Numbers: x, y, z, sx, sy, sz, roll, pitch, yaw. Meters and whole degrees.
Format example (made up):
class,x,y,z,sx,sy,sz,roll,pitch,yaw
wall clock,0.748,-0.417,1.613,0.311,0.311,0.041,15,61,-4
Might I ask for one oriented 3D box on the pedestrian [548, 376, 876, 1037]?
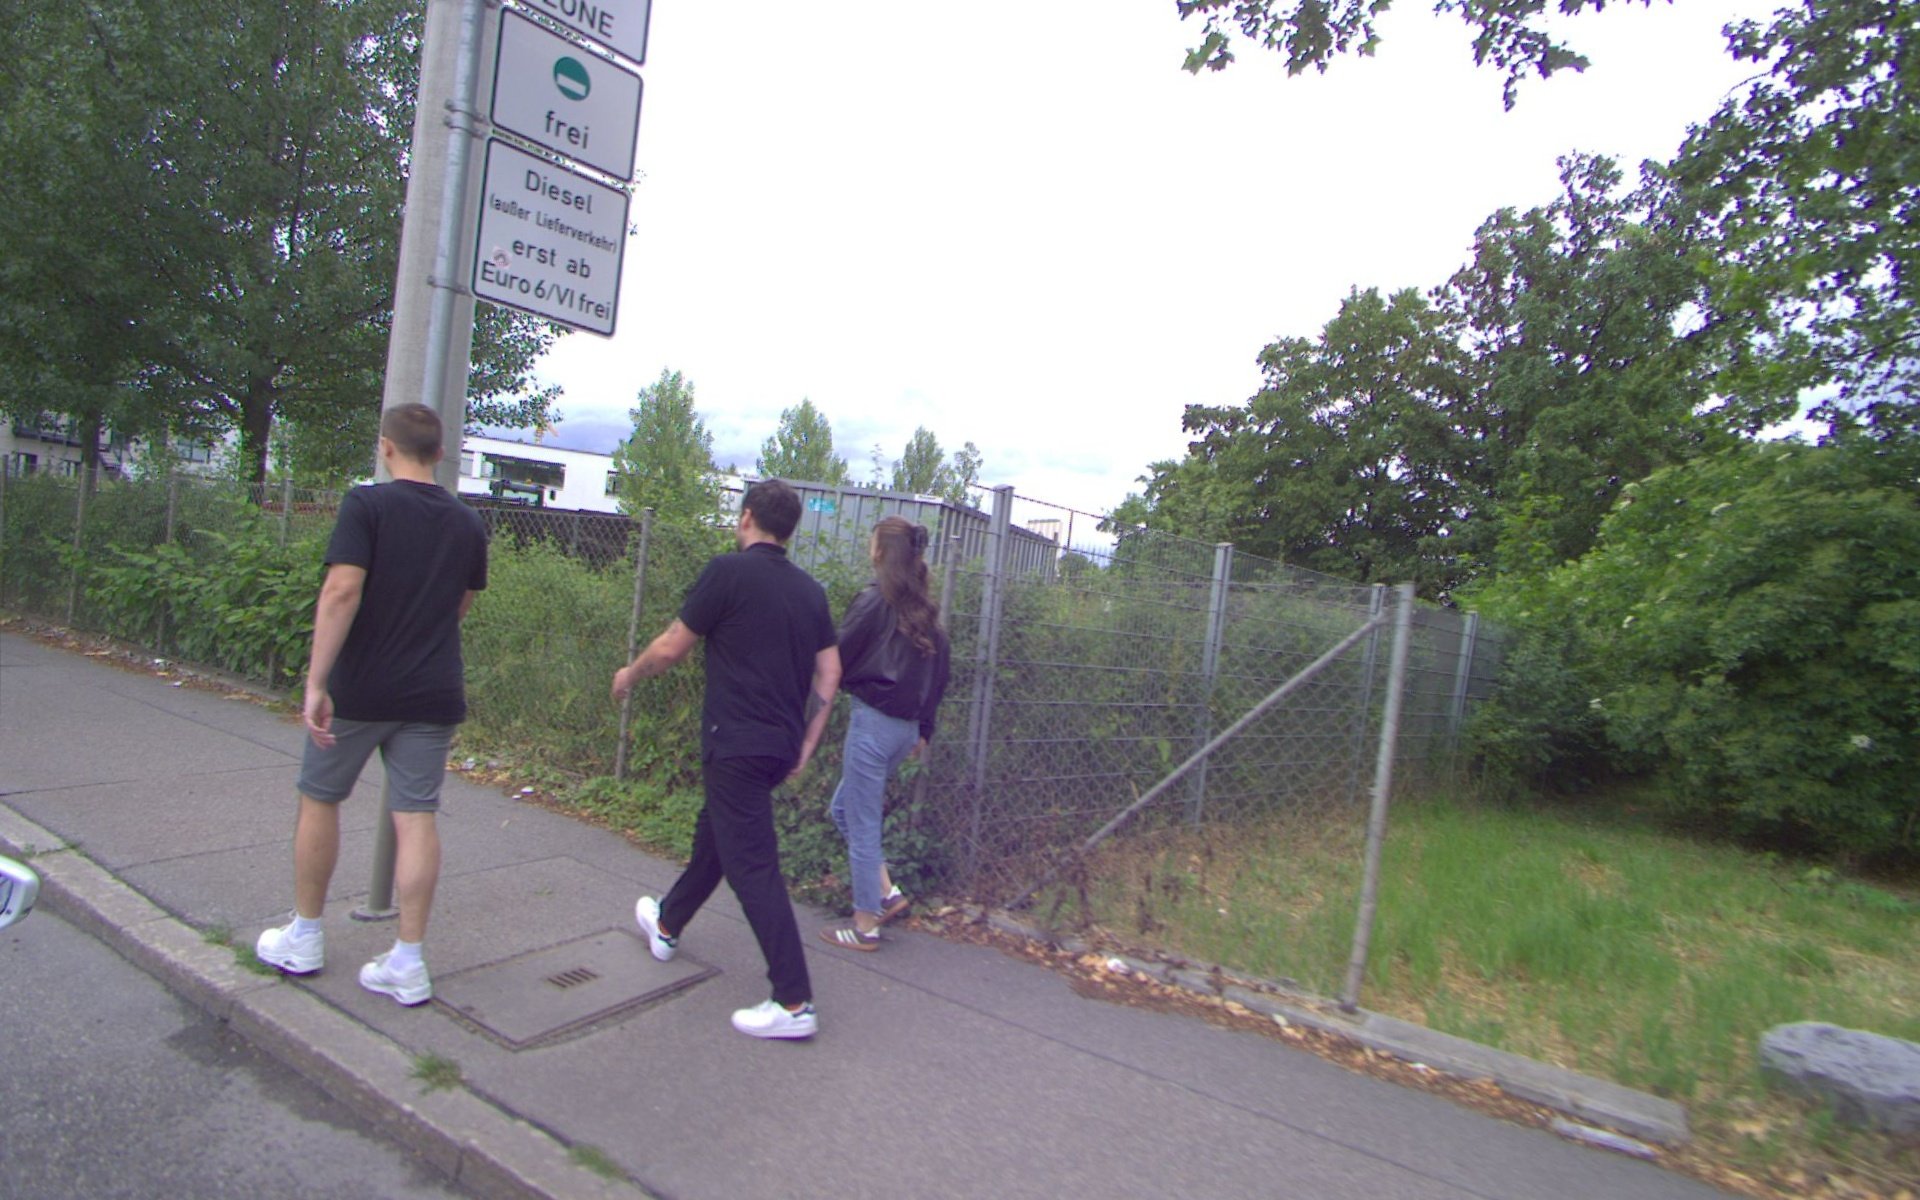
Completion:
class,x,y,z,sx,sy,sz,roll,pitch,yaw
pedestrian,-0.802,0.297,3.290,0.660,1.891,0.602,6,2,32

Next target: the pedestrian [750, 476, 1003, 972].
class,x,y,z,sx,sy,sz,roll,pitch,yaw
pedestrian,-0.312,0.428,3.890,0.661,1.711,0.602,3,0,32

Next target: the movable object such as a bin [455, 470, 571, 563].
class,x,y,z,sx,sy,sz,roll,pitch,yaw
movable object such as a bin,-11.900,-2.101,26.630,1.979,2.039,4.258,4,-1,-34

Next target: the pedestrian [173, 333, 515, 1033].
class,x,y,z,sx,sy,sz,roll,pitch,yaw
pedestrian,-1.912,0.227,3.145,0.661,1.891,0.602,3,0,32
